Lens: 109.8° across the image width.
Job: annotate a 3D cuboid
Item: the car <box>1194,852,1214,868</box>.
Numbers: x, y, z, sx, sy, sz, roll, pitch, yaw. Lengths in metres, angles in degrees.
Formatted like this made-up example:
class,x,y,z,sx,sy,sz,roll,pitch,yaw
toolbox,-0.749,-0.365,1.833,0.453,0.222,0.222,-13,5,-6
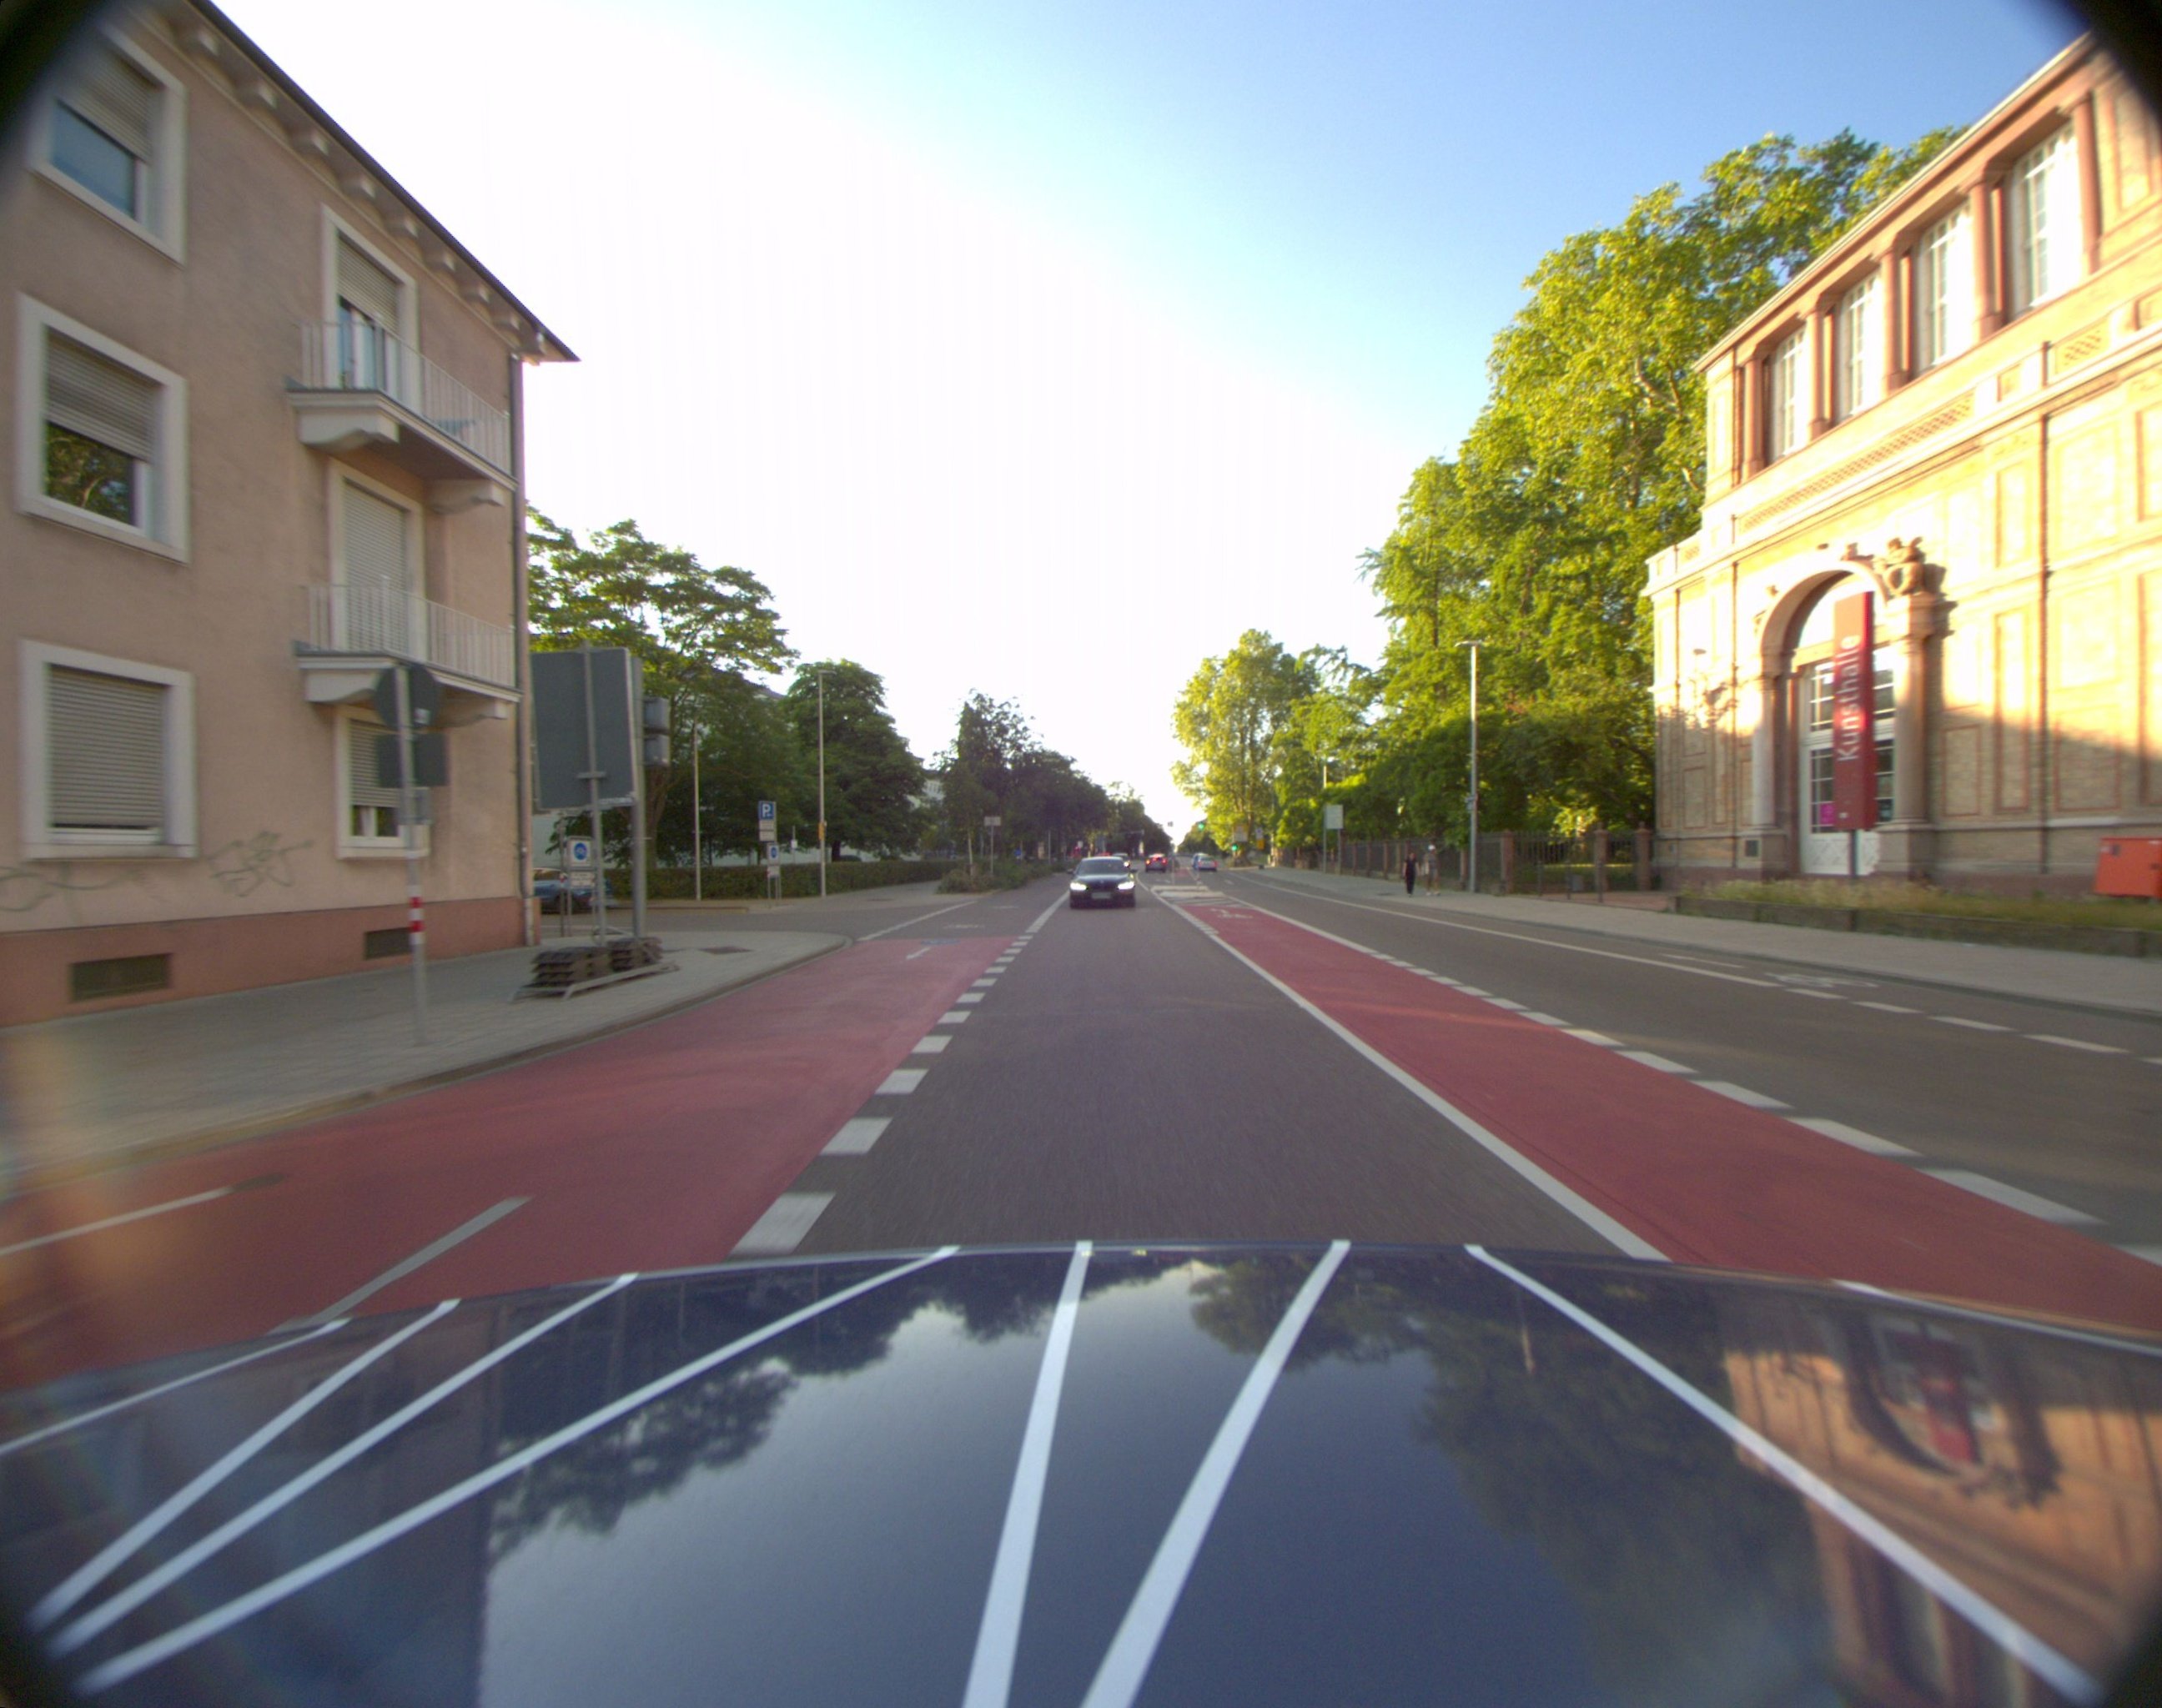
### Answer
class,x,y,z,sx,sy,sz,roll,pitch,yaw
car,13.174,0.629,81.501,1.997,1.674,4.002,-1,0,7

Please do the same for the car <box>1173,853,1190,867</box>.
class,x,y,z,sx,sy,sz,roll,pitch,yaw
car,12.570,0.744,94.879,1.997,1.674,4.002,-1,0,7

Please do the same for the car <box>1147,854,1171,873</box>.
class,x,y,z,sx,sy,sz,roll,pitch,yaw
car,6.671,0.785,65.248,1.776,1.455,4.000,1,1,2

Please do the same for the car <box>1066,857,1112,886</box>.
class,x,y,z,sx,sy,sz,roll,pitch,yaw
car,0.477,0.903,40.045,2.183,1.293,4.358,-3,0,3

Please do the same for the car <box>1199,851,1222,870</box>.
class,x,y,z,sx,sy,sz,roll,pitch,yaw
car,11.946,0.613,70.189,1.920,1.674,4.002,-1,0,7

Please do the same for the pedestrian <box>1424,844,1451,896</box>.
class,x,y,z,sx,sy,sz,roll,pitch,yaw
pedestrian,12.129,0.547,25.902,0.807,1.728,0.851,-1,1,24

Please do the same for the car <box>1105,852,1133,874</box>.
class,x,y,z,sx,sy,sz,roll,pitch,yaw
car,3.216,0.766,65.047,1.839,1.674,4.221,-2,1,-5

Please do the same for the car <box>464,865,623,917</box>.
class,x,y,z,sx,sy,sz,roll,pitch,yaw
car,-17.689,1.200,25.113,3.926,1.571,1.873,-1,0,2

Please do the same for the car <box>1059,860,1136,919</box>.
class,x,y,z,sx,sy,sz,roll,pitch,yaw
car,0.494,0.947,22.012,1.964,1.379,4.781,-1,1,2

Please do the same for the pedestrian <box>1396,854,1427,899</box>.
class,x,y,z,sx,sy,sz,roll,pitch,yaw
pedestrian,11.360,0.766,26.129,0.675,1.504,0.836,-5,-1,8
